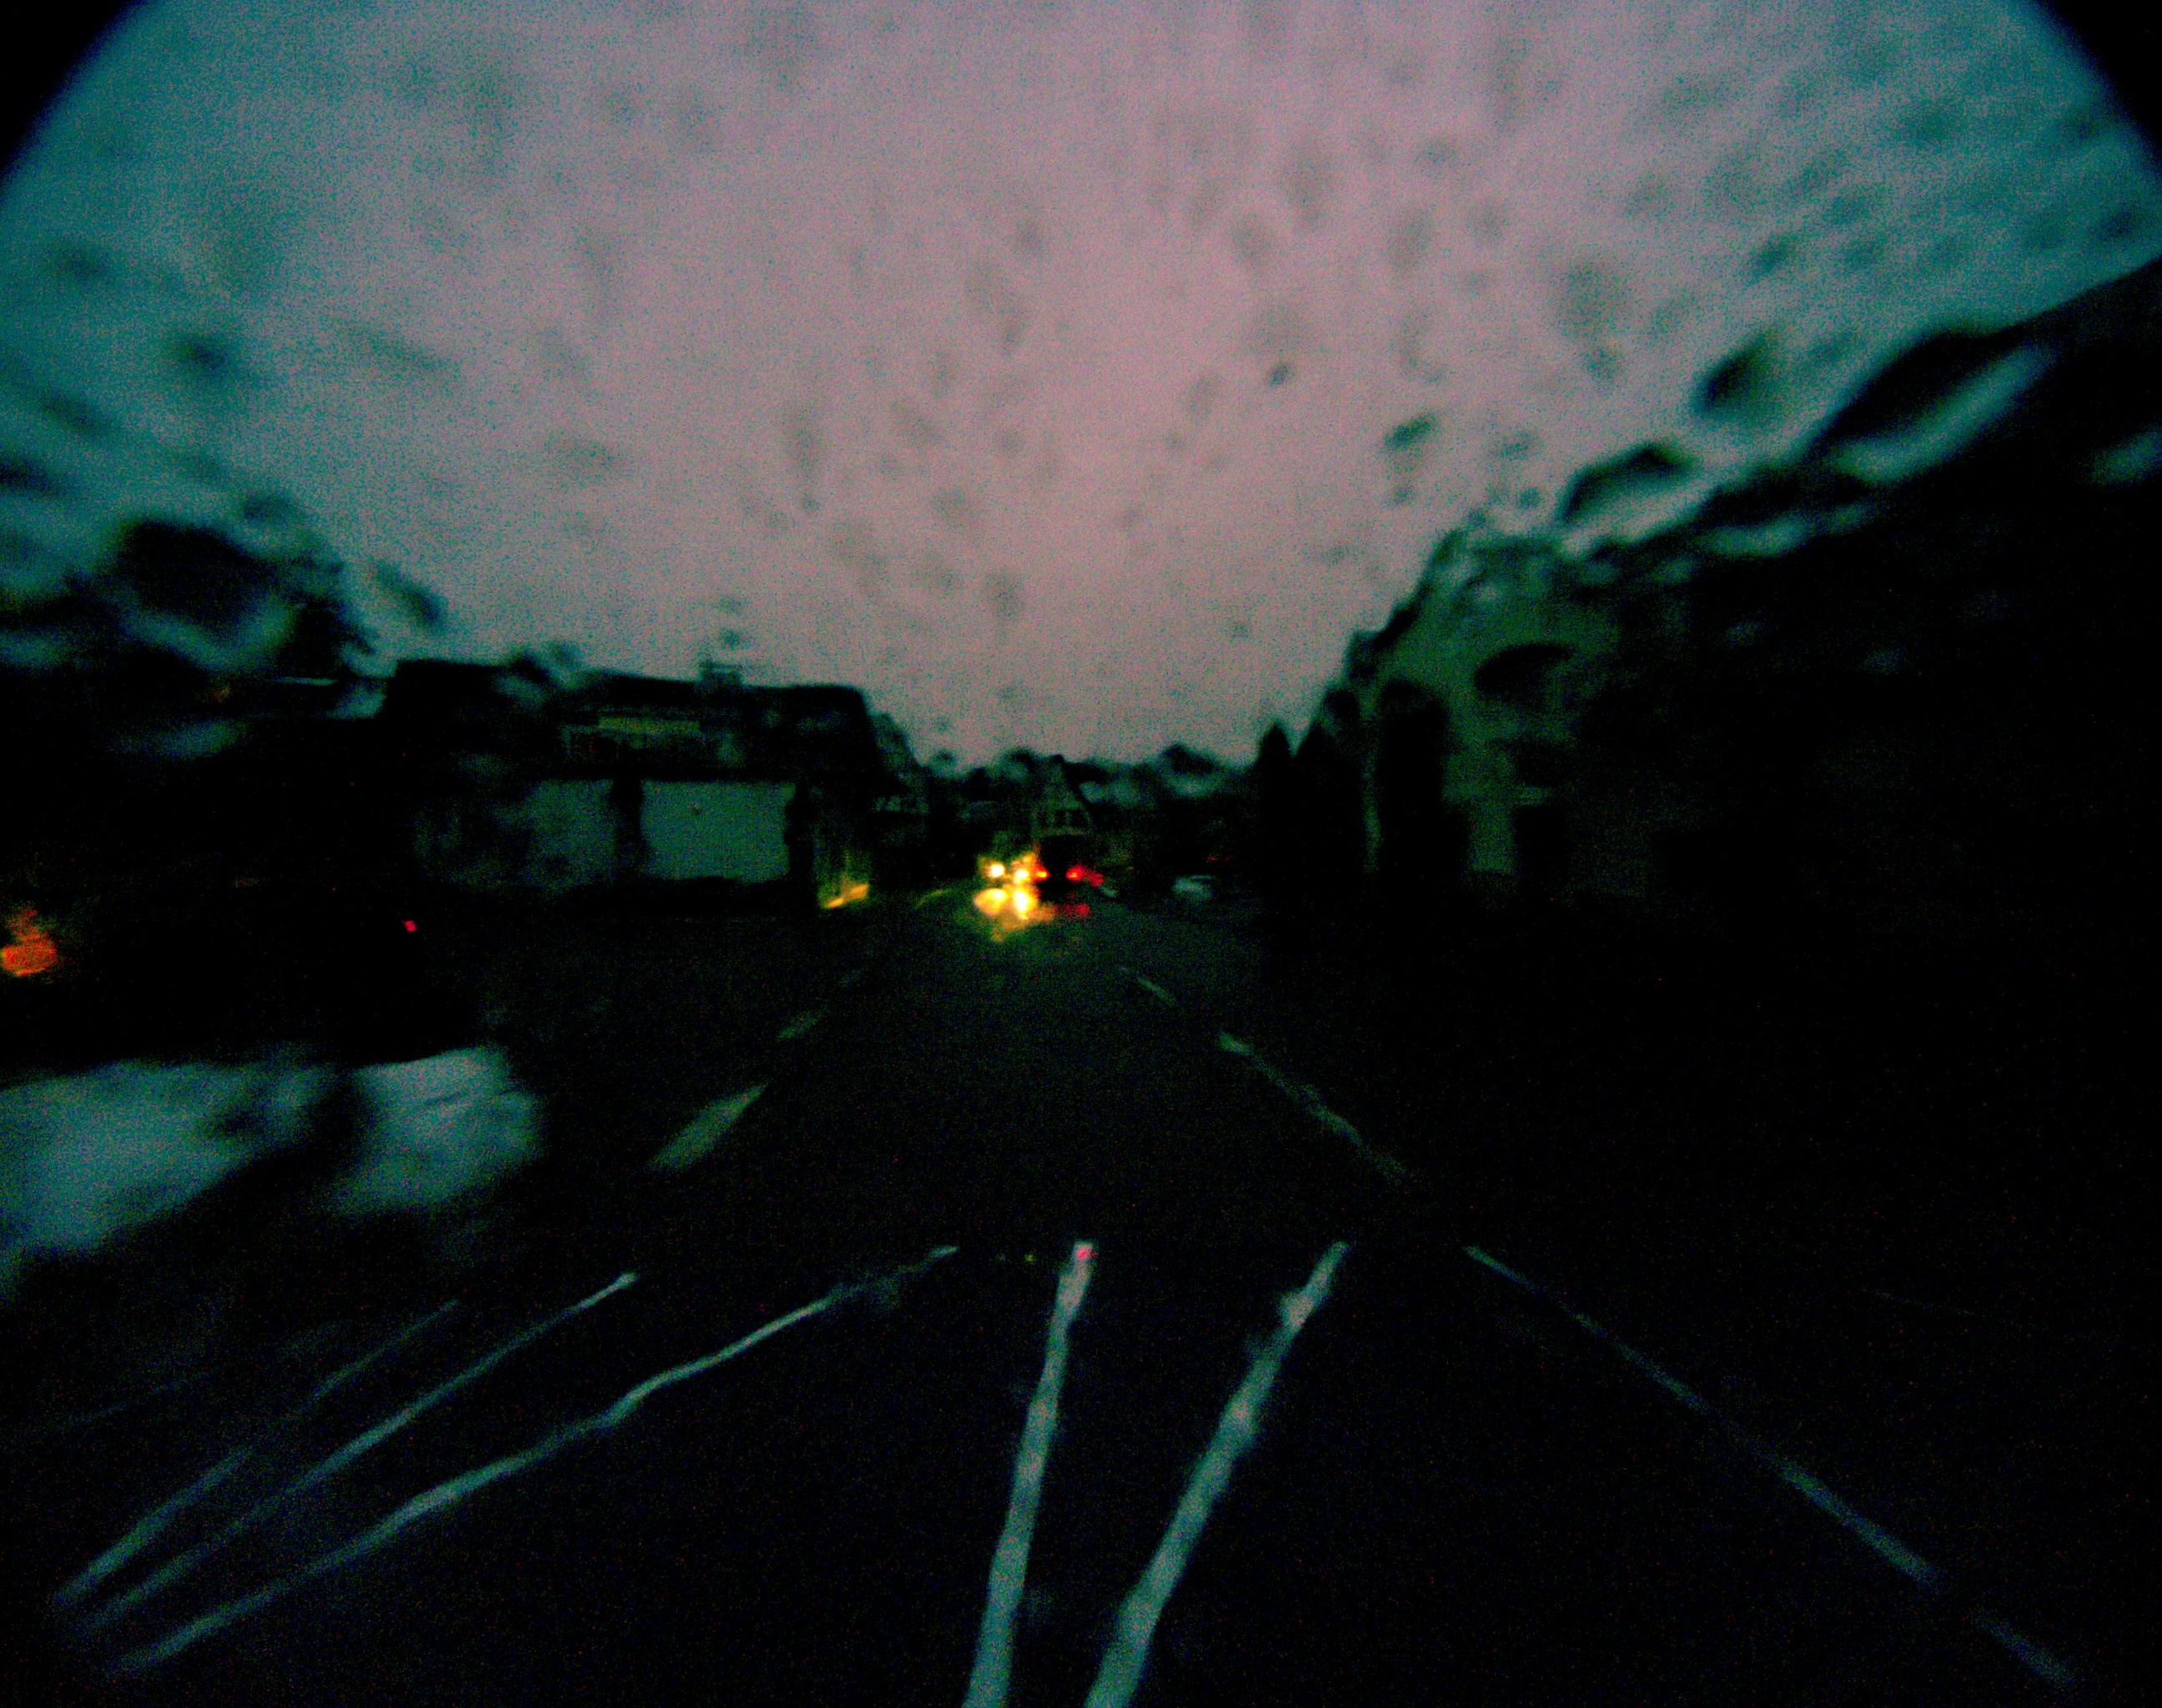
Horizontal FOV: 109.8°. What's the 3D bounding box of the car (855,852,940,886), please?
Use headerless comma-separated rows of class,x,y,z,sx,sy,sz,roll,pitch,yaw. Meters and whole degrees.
car,-9.616,0.787,39.770,3.900,1.442,1.883,4,1,-28

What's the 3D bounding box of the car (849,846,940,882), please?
car,-10.365,0.572,42.308,4.485,1.651,1.850,4,1,-29

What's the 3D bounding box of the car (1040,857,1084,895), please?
car,-0.911,0.984,35.475,1.917,1.643,3.999,-2,0,-2

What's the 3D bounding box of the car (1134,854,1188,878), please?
car,5.995,0.862,56.412,1.878,1.603,4.611,0,1,36

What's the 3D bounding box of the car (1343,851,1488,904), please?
car,10.549,0.702,23.996,4.003,1.454,1.817,-2,1,-18

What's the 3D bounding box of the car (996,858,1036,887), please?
car,-3.663,1.026,43.581,1.999,1.569,4.156,-1,0,-2

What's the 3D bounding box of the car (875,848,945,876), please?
car,-10.996,0.540,48.860,3.993,1.507,1.593,3,1,-35

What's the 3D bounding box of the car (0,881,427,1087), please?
car,-8.782,1.063,7.167,1.548,1.457,3.702,-1,0,14

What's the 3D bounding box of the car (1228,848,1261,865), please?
car,16.411,0.229,76.330,1.651,1.498,3.483,-1,4,-17
